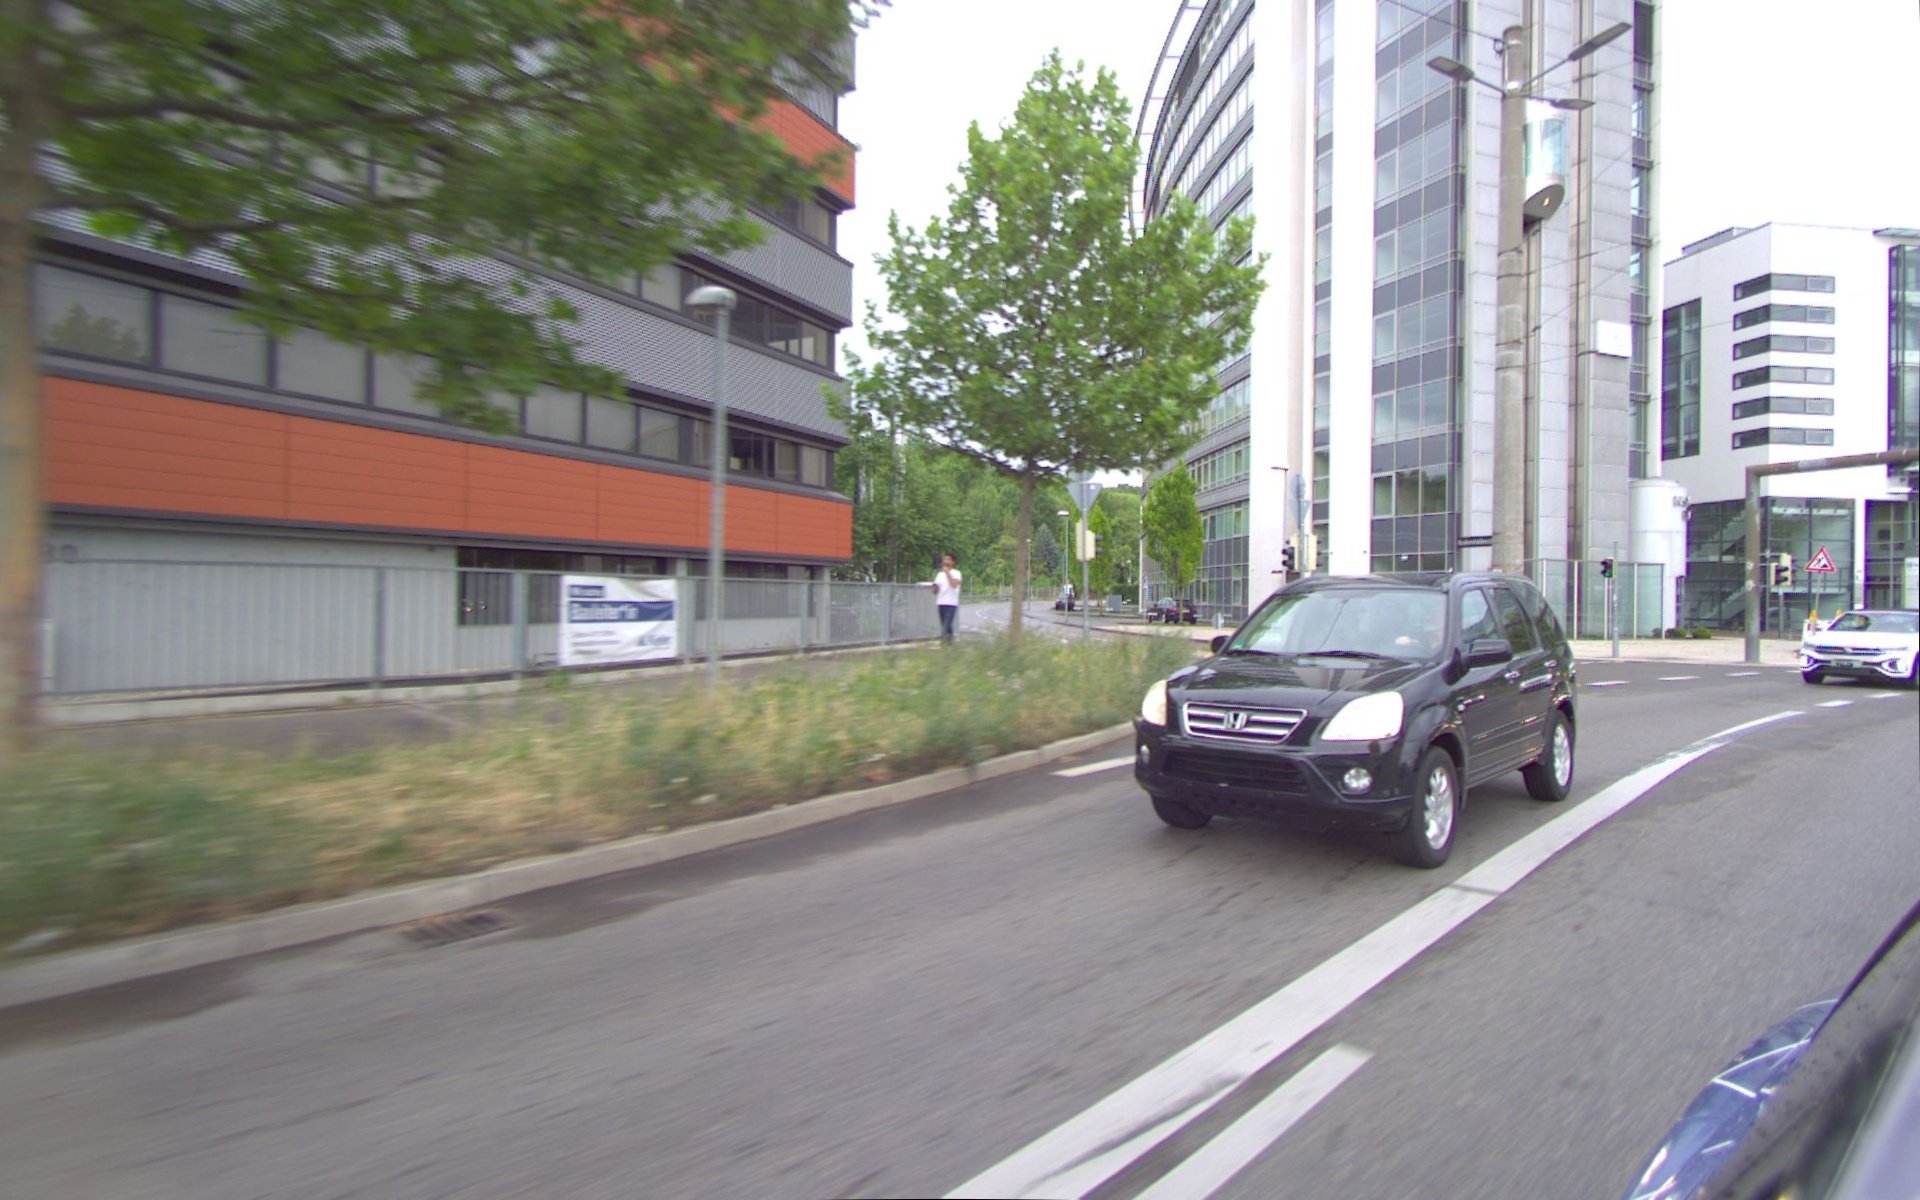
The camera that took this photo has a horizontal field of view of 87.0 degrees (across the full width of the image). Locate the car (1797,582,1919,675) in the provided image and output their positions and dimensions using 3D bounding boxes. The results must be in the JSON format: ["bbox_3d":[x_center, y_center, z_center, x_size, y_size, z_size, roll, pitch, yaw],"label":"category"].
[{"bbox_3d":[18.725,0.568,20.224,3.746,1.700,2.001,2,-1,-32],"label":"car"}]

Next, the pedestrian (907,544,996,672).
[{"bbox_3d":[-0.166,0.137,17.745,1.196,2.152,1.150,1,0,-19],"label":"pedestrian"}]

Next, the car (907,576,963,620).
[{"bbox_3d":[-1.284,-0.052,49.478,1.959,1.940,5.089,3,-1,-9],"label":"car"}]

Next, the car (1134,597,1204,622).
[{"bbox_3d":[11.378,0.542,55.440,1.861,1.330,4.332,-1,-1,-18],"label":"car"}]

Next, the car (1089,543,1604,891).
[{"bbox_3d":[2.888,0.572,6.968,1.765,1.651,4.256,-2,-2,44],"label":"car"}]
